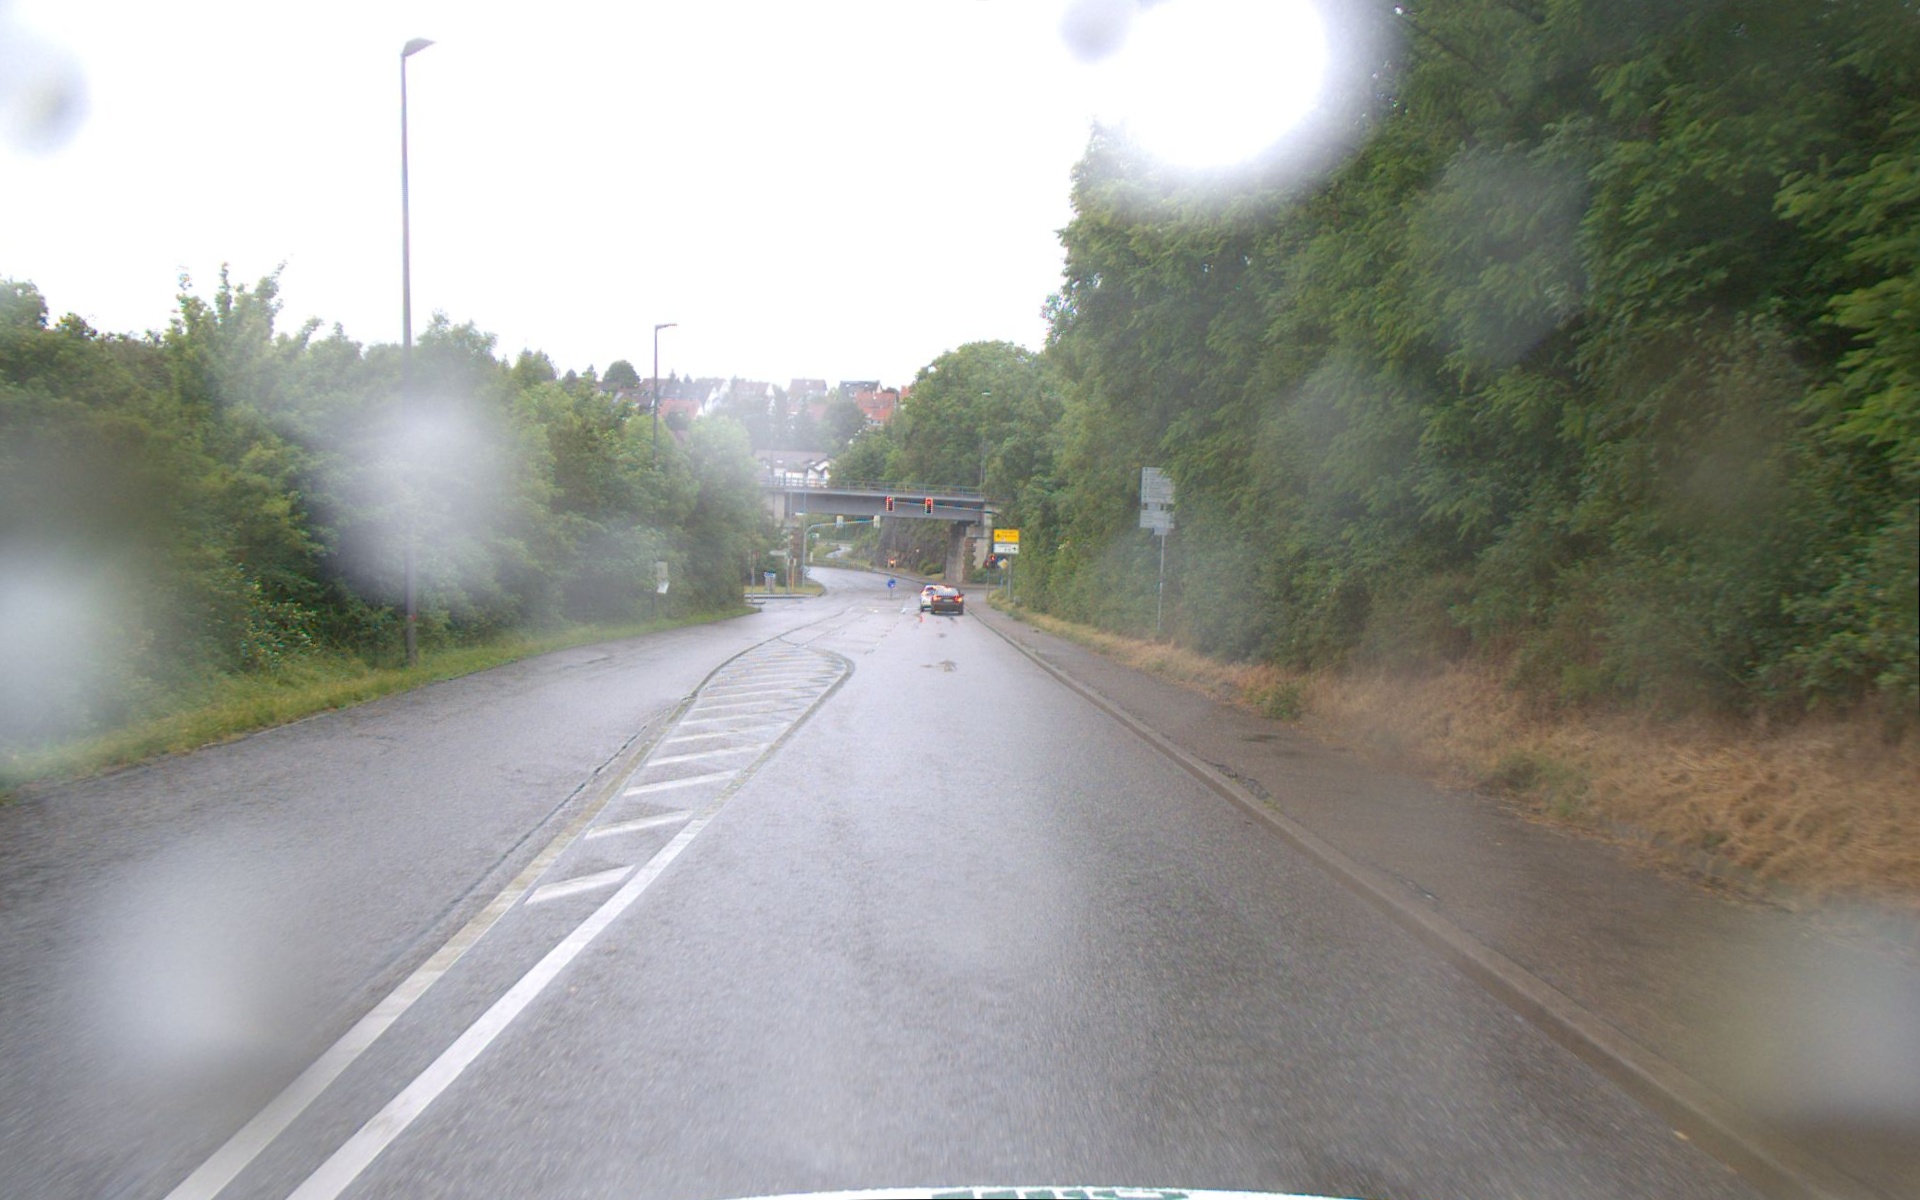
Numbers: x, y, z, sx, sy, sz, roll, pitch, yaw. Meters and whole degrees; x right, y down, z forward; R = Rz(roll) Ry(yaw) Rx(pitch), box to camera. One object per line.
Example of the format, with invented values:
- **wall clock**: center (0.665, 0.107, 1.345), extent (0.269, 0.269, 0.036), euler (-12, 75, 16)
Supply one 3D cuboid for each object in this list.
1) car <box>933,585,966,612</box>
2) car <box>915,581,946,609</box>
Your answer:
- **car**: center (-0.570, -0.073, 89.505), extent (1.732, 1.404, 4.000), euler (0, 0, 0)
- **car**: center (-1.709, -0.299, 96.173), extent (1.732, 1.590, 4.000), euler (0, 0, 0)
